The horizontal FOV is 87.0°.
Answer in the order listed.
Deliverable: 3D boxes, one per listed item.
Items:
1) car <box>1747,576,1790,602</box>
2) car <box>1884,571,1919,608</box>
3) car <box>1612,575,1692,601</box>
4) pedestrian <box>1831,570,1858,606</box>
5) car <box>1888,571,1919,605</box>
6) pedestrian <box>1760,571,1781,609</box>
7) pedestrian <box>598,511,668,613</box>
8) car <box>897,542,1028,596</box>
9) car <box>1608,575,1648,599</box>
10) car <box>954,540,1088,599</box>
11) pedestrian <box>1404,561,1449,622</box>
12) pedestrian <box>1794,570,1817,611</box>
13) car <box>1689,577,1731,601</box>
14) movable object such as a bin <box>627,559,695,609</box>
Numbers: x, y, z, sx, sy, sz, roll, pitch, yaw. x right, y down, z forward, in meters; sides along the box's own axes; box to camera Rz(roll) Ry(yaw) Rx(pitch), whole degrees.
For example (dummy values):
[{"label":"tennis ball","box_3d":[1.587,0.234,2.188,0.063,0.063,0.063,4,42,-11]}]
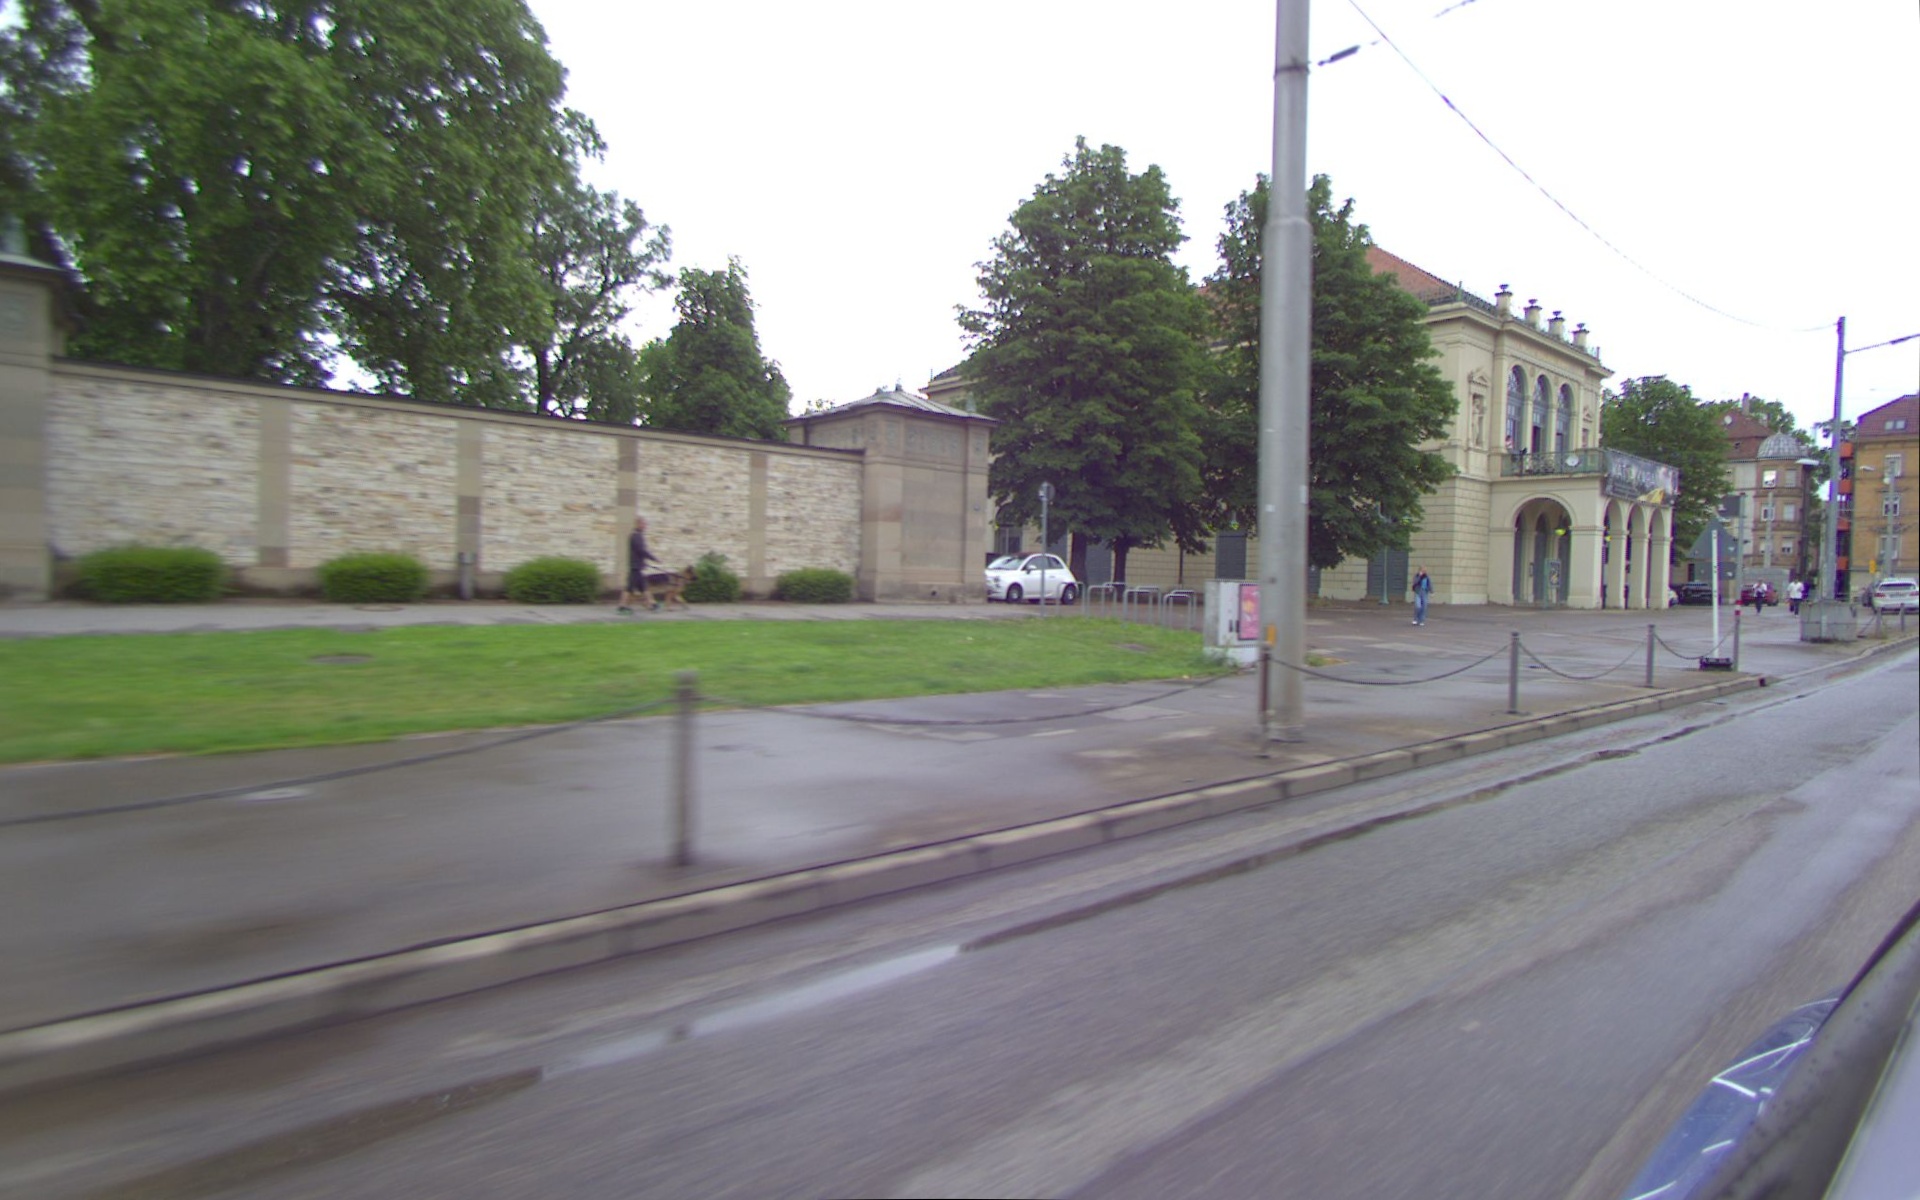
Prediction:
[{"label":"car","box_3d":[52.836,-0.747,66.123,1.826,1.602,3.937,3,3,44]},{"label":"car","box_3d":[44.842,-0.511,47.561,4.076,1.660,1.839,-1,0,-45]},{"label":"car","box_3d":[43.291,-0.771,63.348,1.697,1.487,3.745,-1,3,-38]},{"label":"pedestrian","box_3d":[44.754,-0.615,51.231,0.769,1.829,0.696,0,1,10]},{"label":"car","box_3d":[48.679,-0.624,51.653,1.714,1.660,4.082,-2,0,41]},{"label":"pedestrian","box_3d":[35.954,-0.455,44.919,0.627,1.664,0.768,3,2,43]},{"label":"pedestrian","box_3d":[-5.759,-0.670,17.819,0.964,1.732,0.730,0,2,-39]},{"label":"car","box_3d":[0.143,-0.923,31.217,1.891,1.507,4.131,3,2,38]},{"label":"car","box_3d":[48.393,-0.972,73.248,1.825,1.602,3.940,3,3,42]},{"label":"car","box_3d":[1.781,-0.864,29.177,3.534,1.473,1.841,3,1,-41]},{"label":"pedestrian","box_3d":[12.850,-0.243,27.897,0.654,1.610,0.868,2,3,-14]},{"label":"pedestrian","box_3d":[36.316,-0.413,43.453,0.825,1.757,0.594,-1,2,-43]},{"label":"car","box_3d":[50.964,-0.777,68.781,1.859,1.567,4.003,1,2,43]},{"label":"movable object such as a bin","box_3d":[-5.528,-0.299,18.746,1.170,0.882,0.343,0,2,-40]}]
